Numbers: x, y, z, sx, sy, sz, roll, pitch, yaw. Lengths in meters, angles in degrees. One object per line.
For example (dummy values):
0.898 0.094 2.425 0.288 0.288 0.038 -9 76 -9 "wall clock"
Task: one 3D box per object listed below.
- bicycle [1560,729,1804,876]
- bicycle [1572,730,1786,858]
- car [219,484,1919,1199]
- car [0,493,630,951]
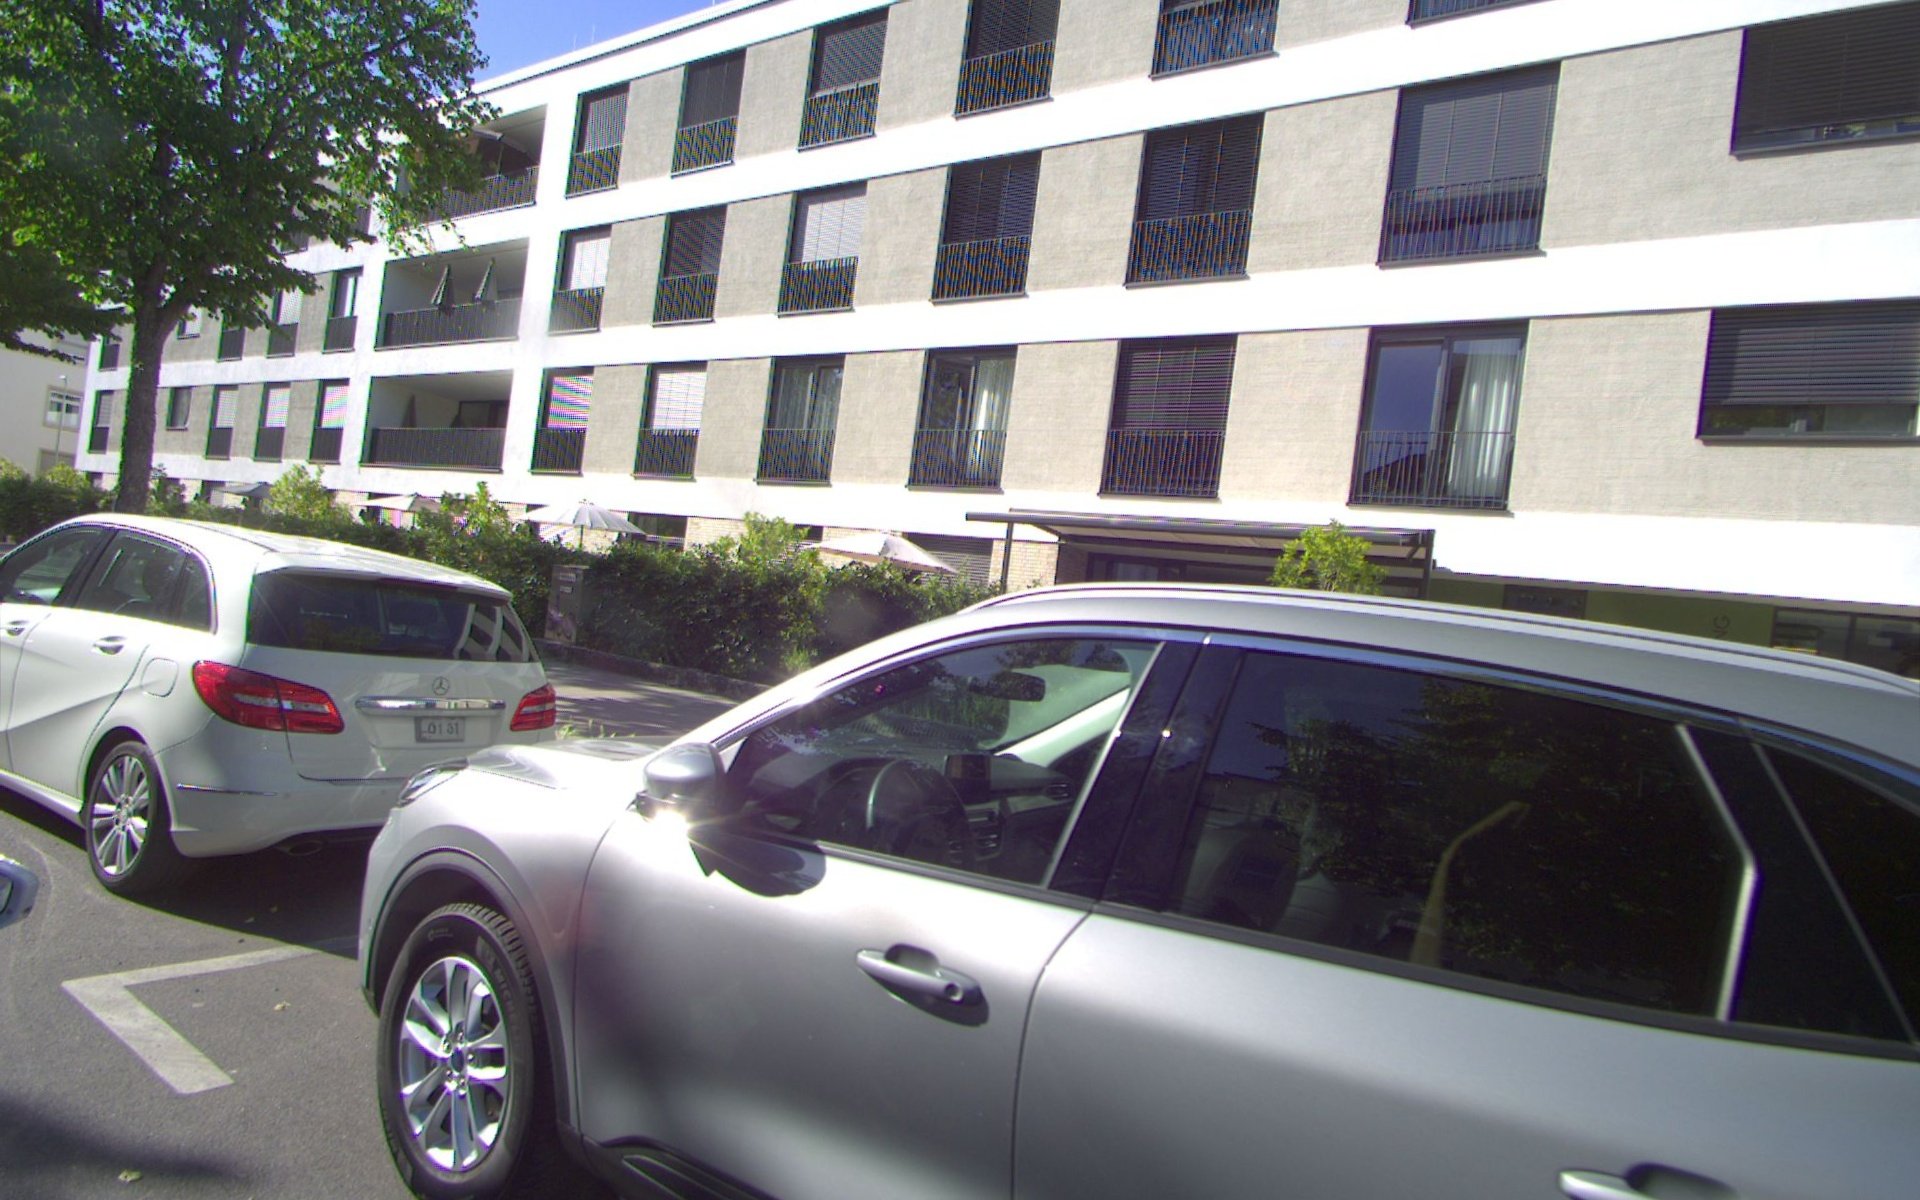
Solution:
6.172 1.702 8.699 1.583 0.905 0.563 7 -1 34 "bicycle"
6.973 1.854 9.844 1.583 0.905 0.563 7 -1 34 "bicycle"
0.428 0.810 2.319 4.785 1.666 1.899 7 -2 35 "car"
-4.213 0.343 5.516 4.607 1.535 1.785 7 -2 29 "car"
